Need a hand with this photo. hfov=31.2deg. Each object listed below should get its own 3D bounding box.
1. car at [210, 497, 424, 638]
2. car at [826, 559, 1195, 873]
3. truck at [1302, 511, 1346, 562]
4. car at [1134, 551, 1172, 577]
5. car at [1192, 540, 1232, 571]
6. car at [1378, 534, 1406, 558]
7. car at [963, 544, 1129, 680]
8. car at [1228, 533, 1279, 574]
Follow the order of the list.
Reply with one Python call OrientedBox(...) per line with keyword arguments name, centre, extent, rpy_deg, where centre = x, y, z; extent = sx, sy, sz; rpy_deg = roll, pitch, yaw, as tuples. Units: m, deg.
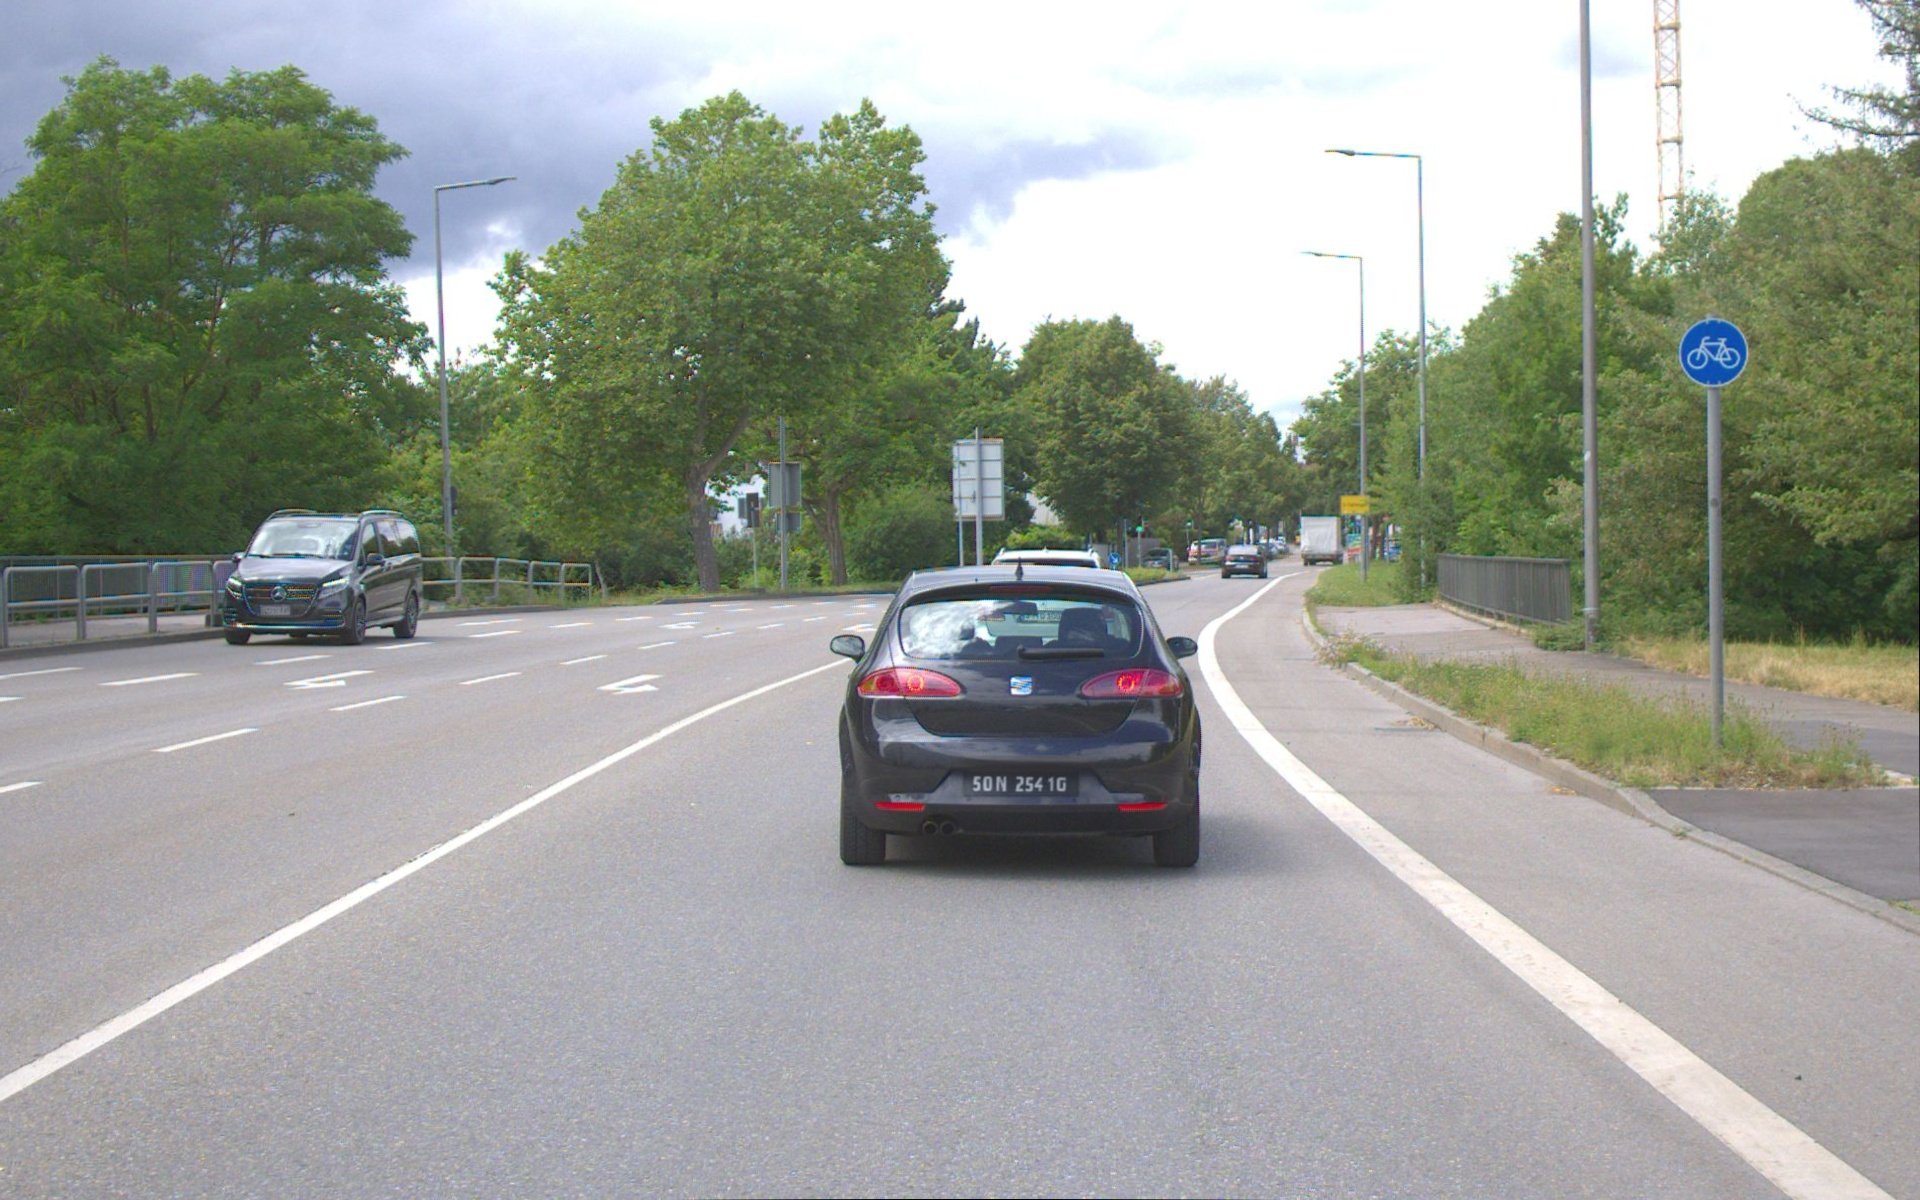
OrientedBox(name="car", centre=(-9.357, -0.507, 50.462), extent=(2.018, 1.940, 5.365), rpy_deg=(0, 1, 1))
OrientedBox(name="car", centre=(0.269, 0.507, 17.568), extent=(1.663, 1.396, 3.812), rpy_deg=(1, 1, 1))
OrientedBox(name="truck", centre=(22.874, -3.977, 215.999), extent=(2.280, 3.093, 8.508), rpy_deg=(1, 1, 9))
OrientedBox(name="car", centre=(11.161, -2.104, 198.288), extent=(1.718, 1.390, 4.800), rpy_deg=(-2, 1, 8))
OrientedBox(name="car", centre=(16.640, -2.939, 226.747), extent=(2.100, 1.890, 5.782), rpy_deg=(-2, 1, 8))
OrientedBox(name="car", centre=(27.571, -3.427, 219.526), extent=(1.688, 1.485, 3.354), rpy_deg=(-1, 1, 8))
OrientedBox(name="car", centre=(1.035, 0.105, 40.435), extent=(1.846, 1.504, 3.811), rpy_deg=(1, 1, 2))
OrientedBox(name="car", centre=(12.518, -1.978, 146.368), extent=(1.882, 1.683, 4.212), rpy_deg=(-1, 1, 8))
